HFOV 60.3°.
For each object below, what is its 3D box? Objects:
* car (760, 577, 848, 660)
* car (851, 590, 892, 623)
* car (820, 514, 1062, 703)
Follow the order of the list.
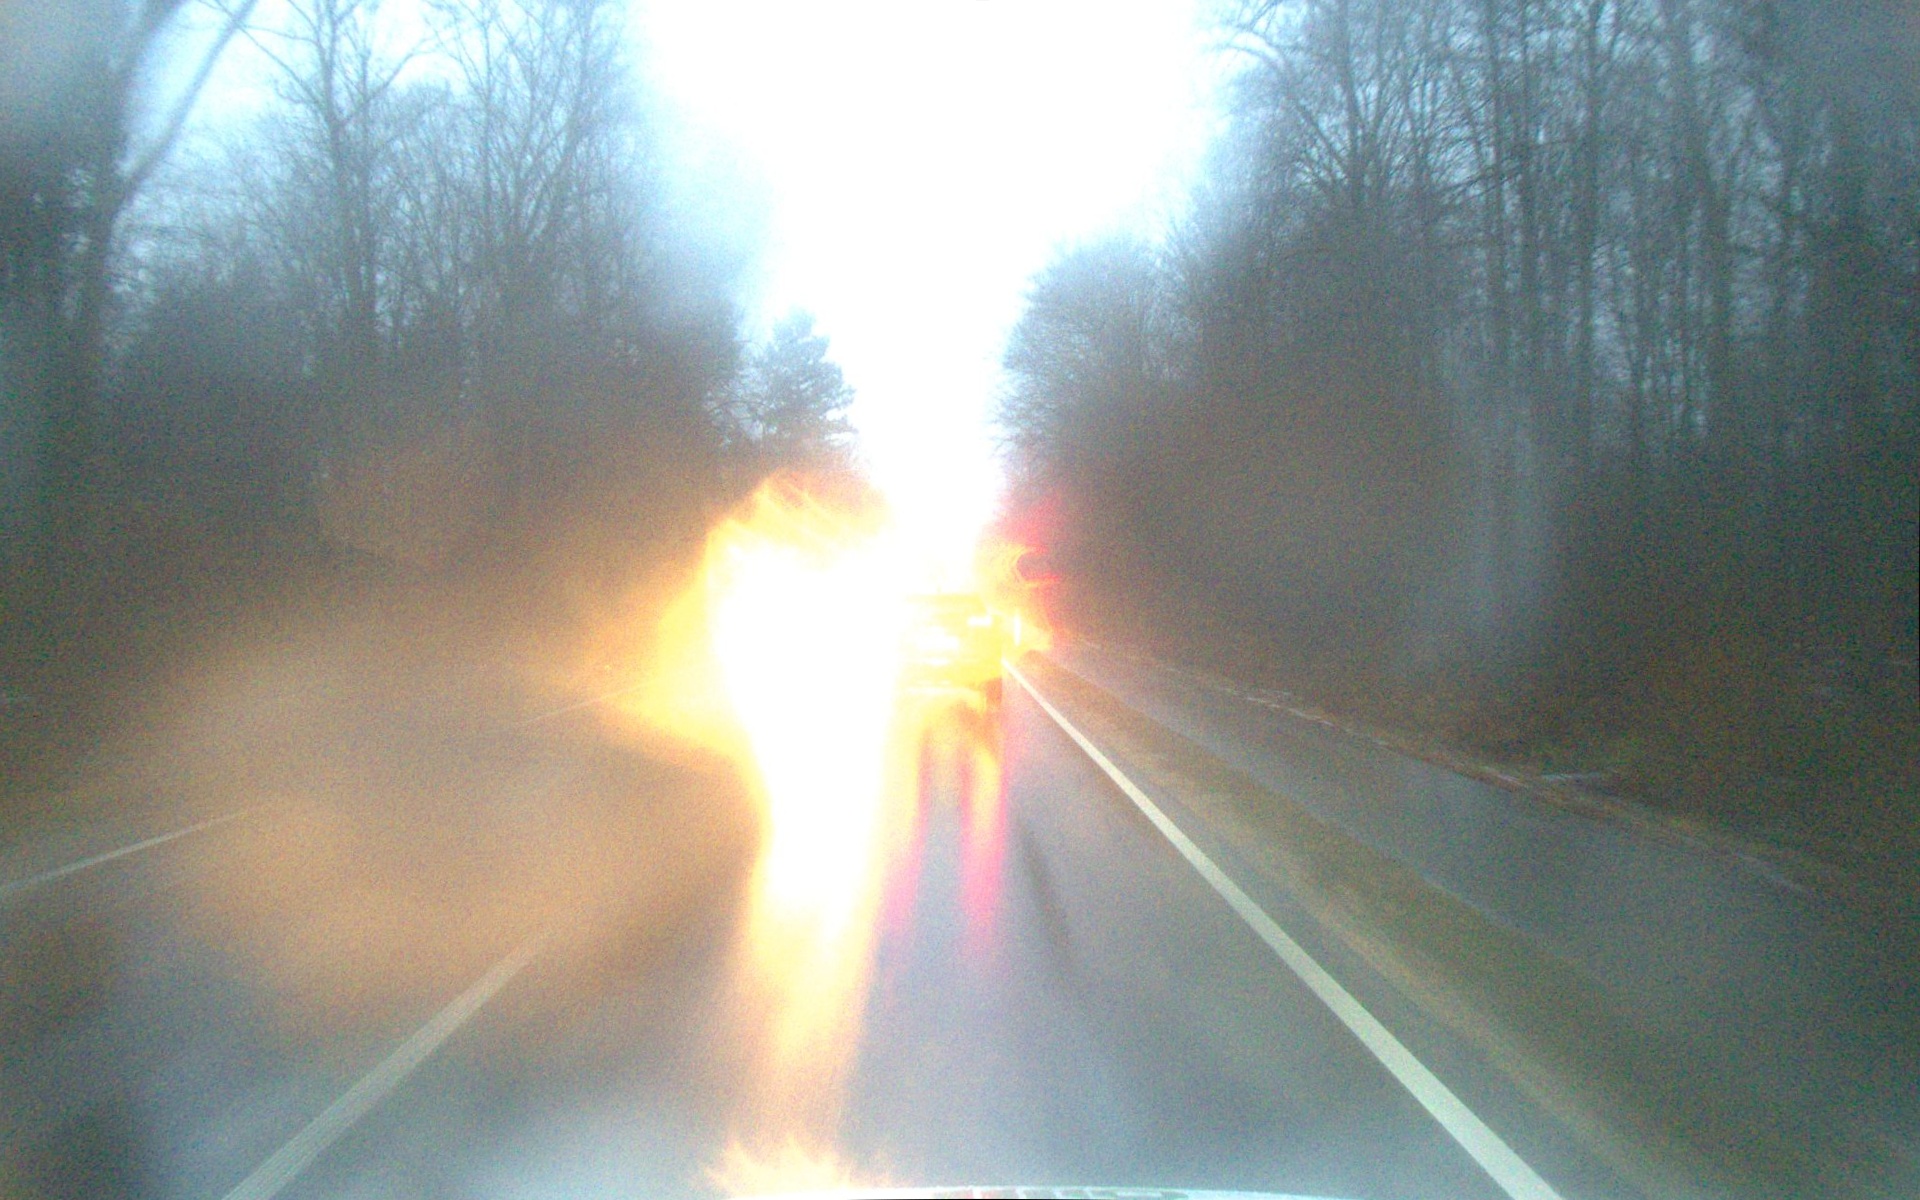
[{"bbox_3d":[-4.135,0.464,44.468,1.966,2.023,5.030,-2,0,-2],"label":"car"},{"bbox_3d":[-4.241,0.273,79.779,1.718,1.483,3.637,-2,0,0],"label":"car"},{"bbox_3d":[-0.252,0.103,24.842,3.118,2.428,6.636,1,0,0],"label":"car"}]
